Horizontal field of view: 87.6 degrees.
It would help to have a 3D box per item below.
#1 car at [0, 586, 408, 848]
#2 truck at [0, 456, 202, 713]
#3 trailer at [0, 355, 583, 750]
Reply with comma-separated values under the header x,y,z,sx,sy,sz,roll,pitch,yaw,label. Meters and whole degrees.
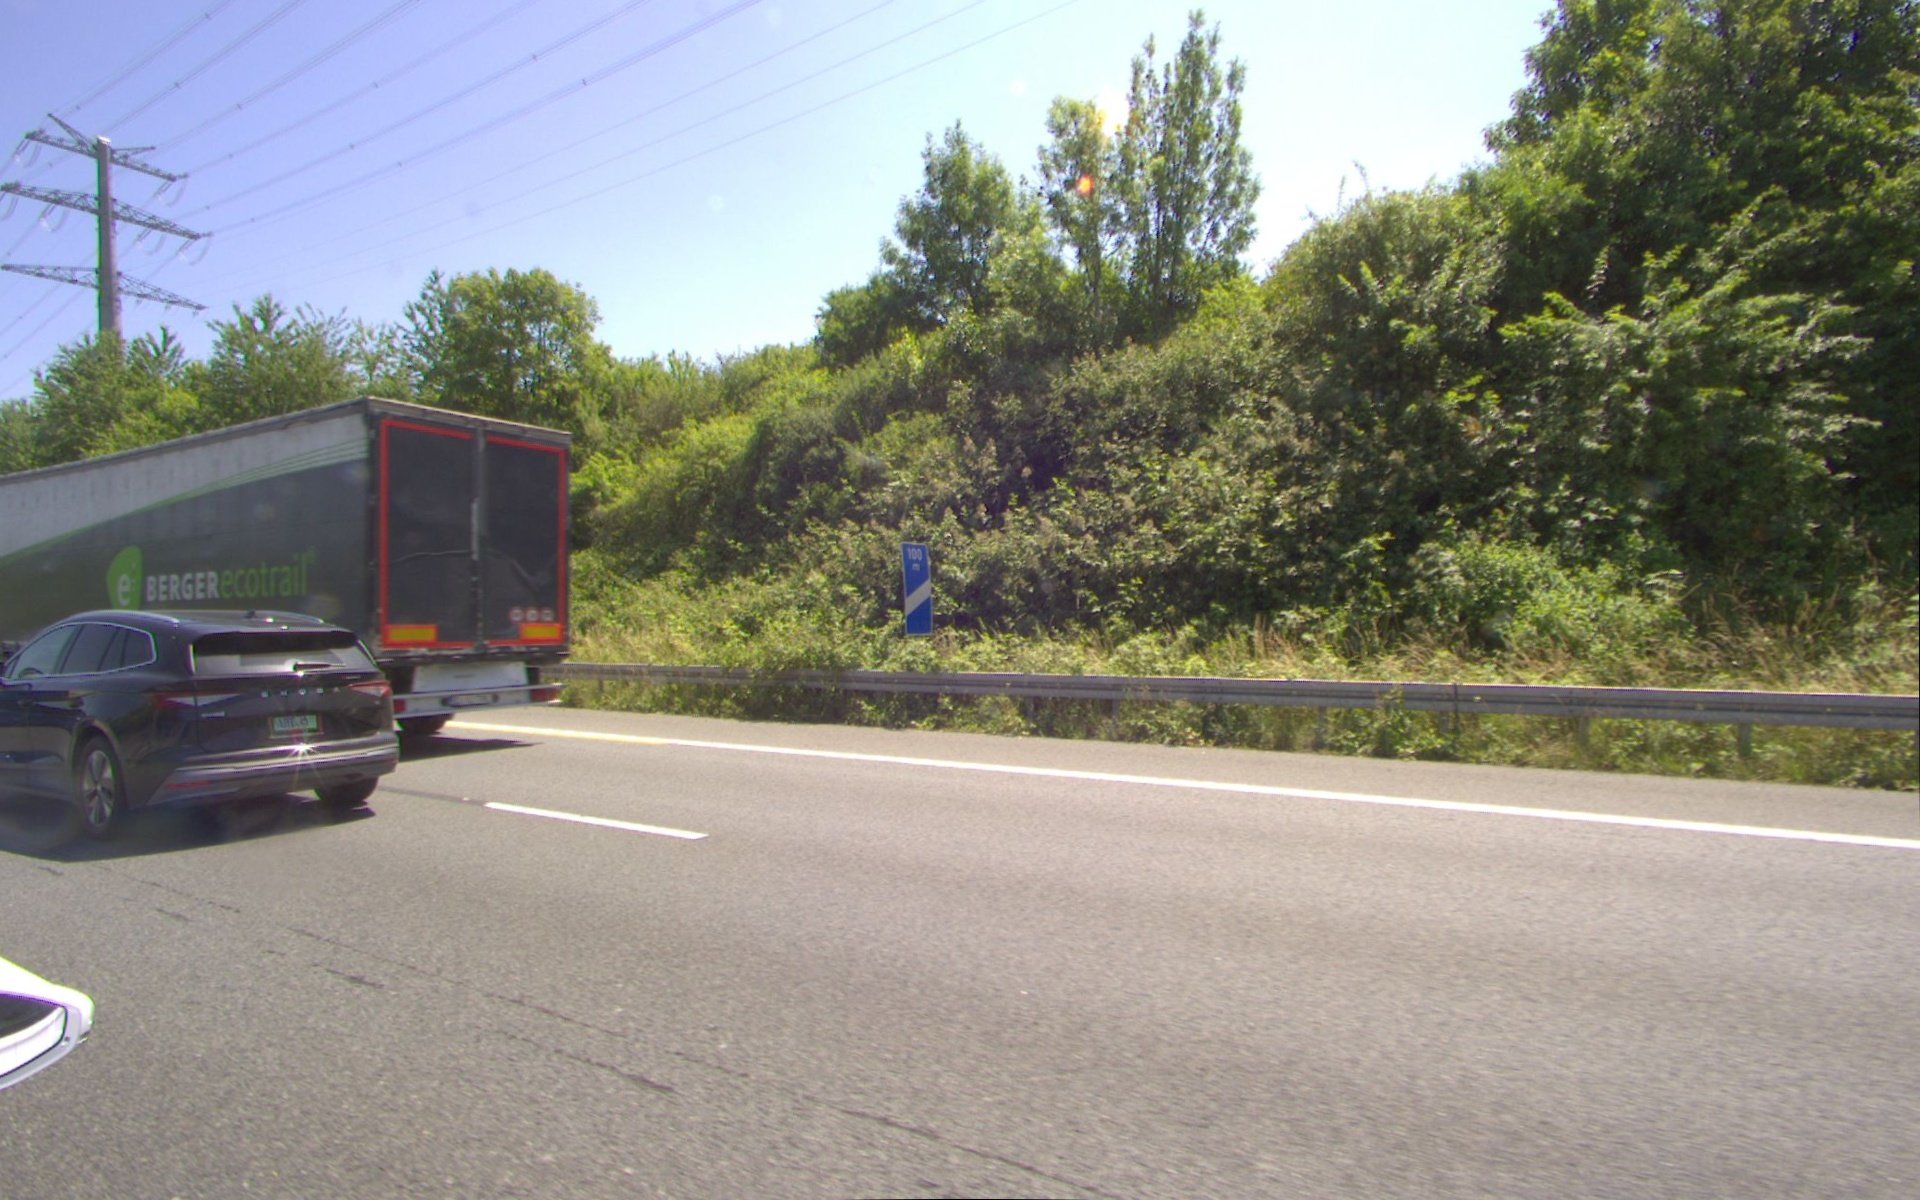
x,y,z,sx,sy,sz,roll,pitch,yaw,label
-6.638,0.820,8.284,4.365,1.676,1.698,-1,-2,31,car
-17.030,-0.146,18.650,5.709,4.099,2.729,-1,-2,31,truck
-11.023,-0.322,14.958,12.922,4.099,2.779,-1,-2,32,trailer
